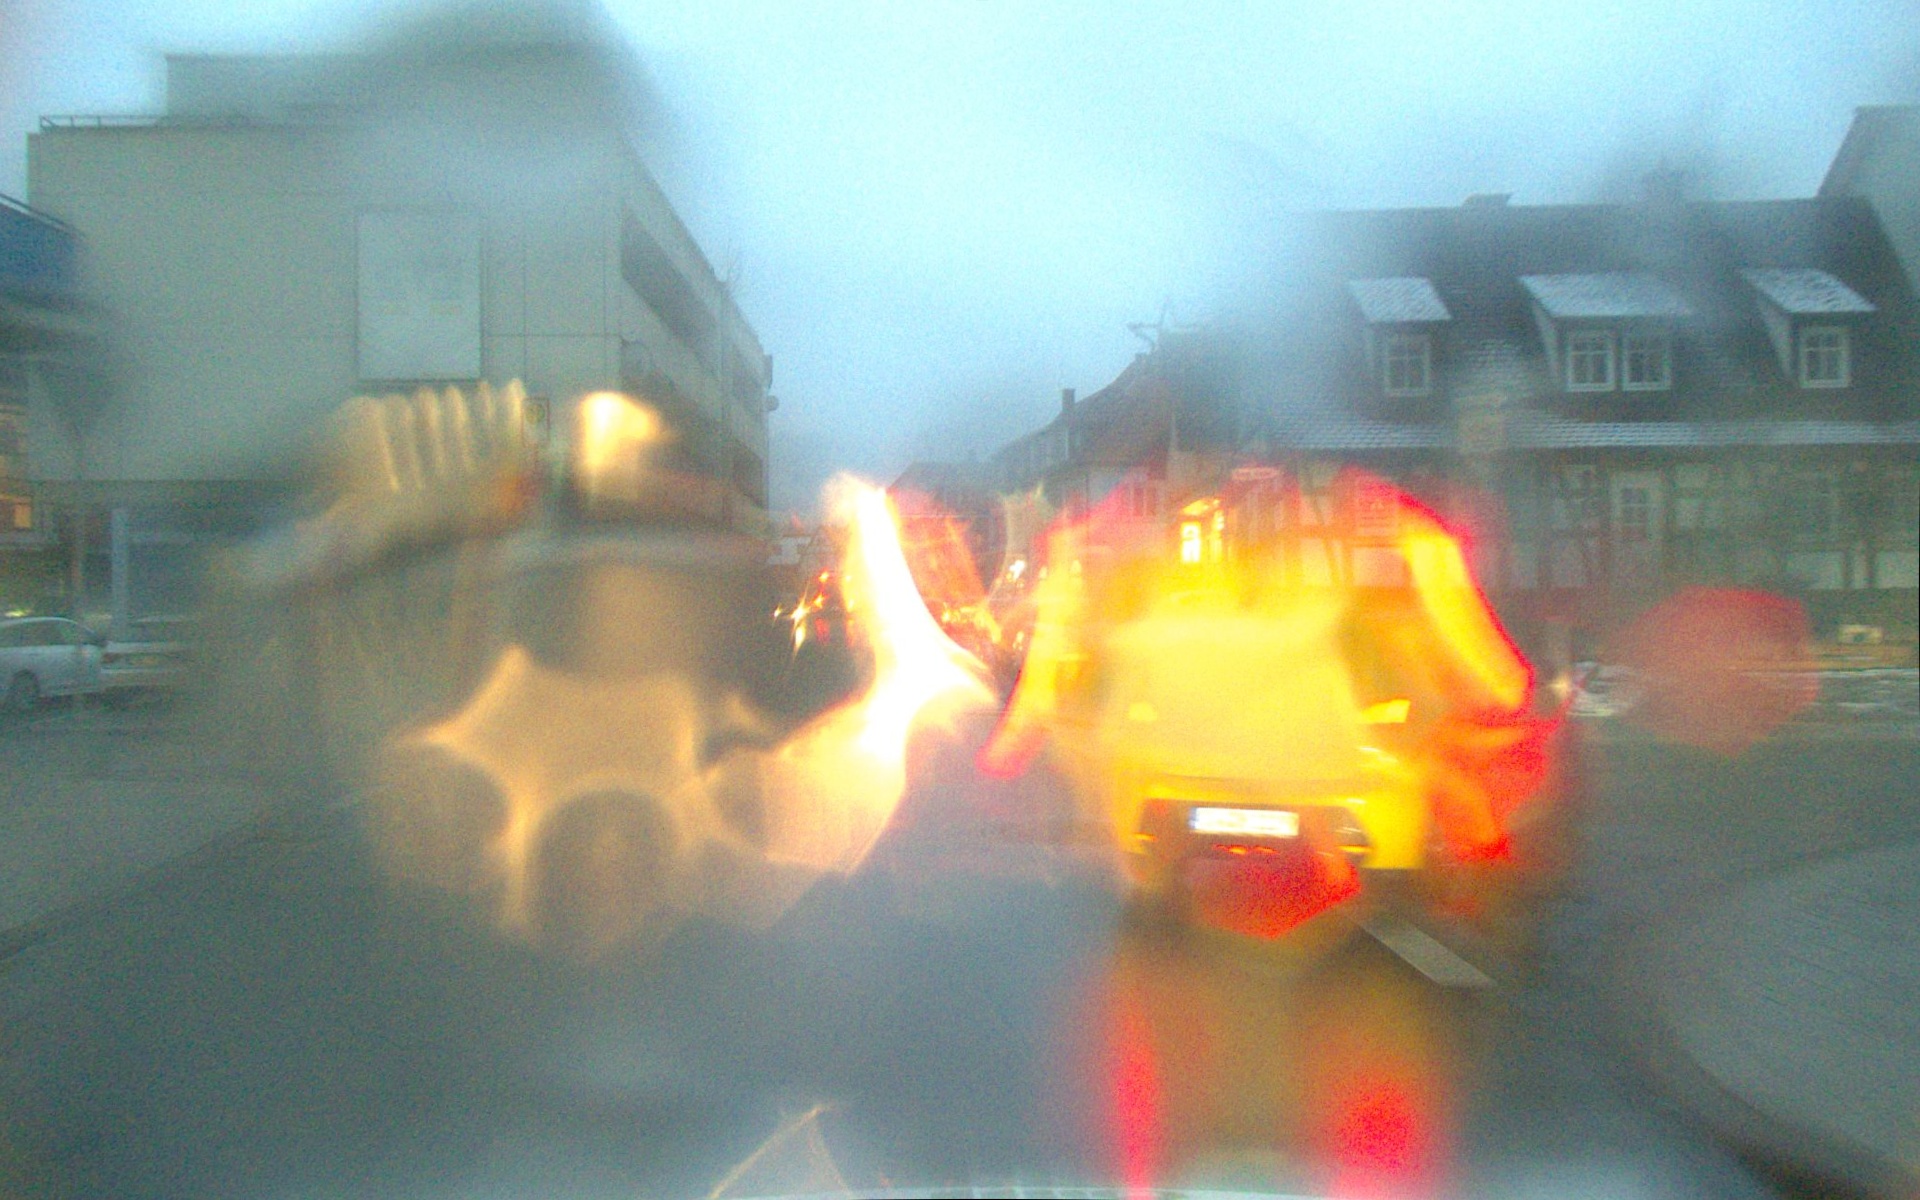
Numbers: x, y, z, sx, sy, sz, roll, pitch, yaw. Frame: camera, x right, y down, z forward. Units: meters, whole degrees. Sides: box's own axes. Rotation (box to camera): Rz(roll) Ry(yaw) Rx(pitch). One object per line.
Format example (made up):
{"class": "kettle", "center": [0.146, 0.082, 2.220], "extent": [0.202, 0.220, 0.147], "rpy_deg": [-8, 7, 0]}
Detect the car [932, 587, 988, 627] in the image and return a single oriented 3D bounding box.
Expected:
{"class": "car", "center": [-0.041, 0.279, 69.508], "extent": [1.846, 1.574, 4.664], "rpy_deg": [-1, 0, -6]}

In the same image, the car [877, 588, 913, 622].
{"class": "car", "center": [-3.033, 0.229, 76.960], "extent": [1.605, 1.507, 3.269], "rpy_deg": [1, 0, -3]}

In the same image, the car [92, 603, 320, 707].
{"class": "car", "center": [-12.443, 0.850, 27.633], "extent": [1.662, 1.424, 4.451], "rpy_deg": [-1, 2, 1]}

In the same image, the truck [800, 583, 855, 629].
{"class": "truck", "center": [-9.596, 0.399, 119.080], "extent": [2.962, 3.183, 7.978], "rpy_deg": [1, 0, -11]}

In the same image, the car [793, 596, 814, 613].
{"class": "car", "center": [-14.682, 0.462, 155.349], "extent": [1.609, 1.562, 3.397], "rpy_deg": [1, 0, -11]}

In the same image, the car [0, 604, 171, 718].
{"class": "car", "center": [-15.188, 0.936, 26.925], "extent": [2.058, 1.526, 5.047], "rpy_deg": [-1, 2, 2]}

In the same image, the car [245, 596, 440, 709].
{"class": "car", "center": [-9.930, 0.781, 26.949], "extent": [1.729, 1.526, 4.447], "rpy_deg": [-1, 2, -4]}

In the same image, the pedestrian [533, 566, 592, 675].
{"class": "pedestrian", "center": [-7.370, 0.364, 30.650], "extent": [0.958, 1.972, 1.196], "rpy_deg": [-1, 0, -18]}

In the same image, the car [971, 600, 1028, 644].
{"class": "car", "center": [1.409, 0.785, 60.679], "extent": [1.758, 1.486, 4.529], "rpy_deg": [-2, 0, -2]}

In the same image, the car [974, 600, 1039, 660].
{"class": "car", "center": [1.224, 0.775, 44.423], "extent": [1.593, 1.466, 3.800], "rpy_deg": [-3, 0, 1]}

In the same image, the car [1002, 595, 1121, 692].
{"class": "car", "center": [1.686, 0.712, 28.678], "extent": [1.697, 1.484, 3.999], "rpy_deg": [-3, 0, -1]}

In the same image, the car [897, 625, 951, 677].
{"class": "car", "center": [-1.112, 1.555, 51.036], "extent": [1.605, 1.507, 3.378], "rpy_deg": [1, 0, -1]}

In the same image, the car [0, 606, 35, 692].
{"class": "car", "center": [-18.050, 0.944, 28.293], "extent": [1.662, 1.489, 4.453], "rpy_deg": [-1, 2, 4]}

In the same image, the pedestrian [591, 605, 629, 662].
{"class": "pedestrian", "center": [-8.335, 0.801, 39.430], "extent": [0.740, 1.333, 0.828], "rpy_deg": [1, 0, -3]}

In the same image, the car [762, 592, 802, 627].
{"class": "car", "center": [-8.893, 0.455, 82.533], "extent": [1.761, 1.671, 3.804], "rpy_deg": [1, 0, -9]}

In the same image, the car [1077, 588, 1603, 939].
{"class": "car", "center": [2.269, 0.689, 9.098], "extent": [1.738, 1.473, 3.718], "rpy_deg": [0, 1, 31]}

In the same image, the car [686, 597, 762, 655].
{"class": "car", "center": [-6.689, 0.709, 47.181], "extent": [1.582, 1.559, 3.928], "rpy_deg": [1, 0, 0]}

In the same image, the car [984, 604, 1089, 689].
{"class": "car", "center": [1.506, 0.897, 33.972], "extent": [1.729, 1.553, 4.387], "rpy_deg": [-3, 0, -2]}
